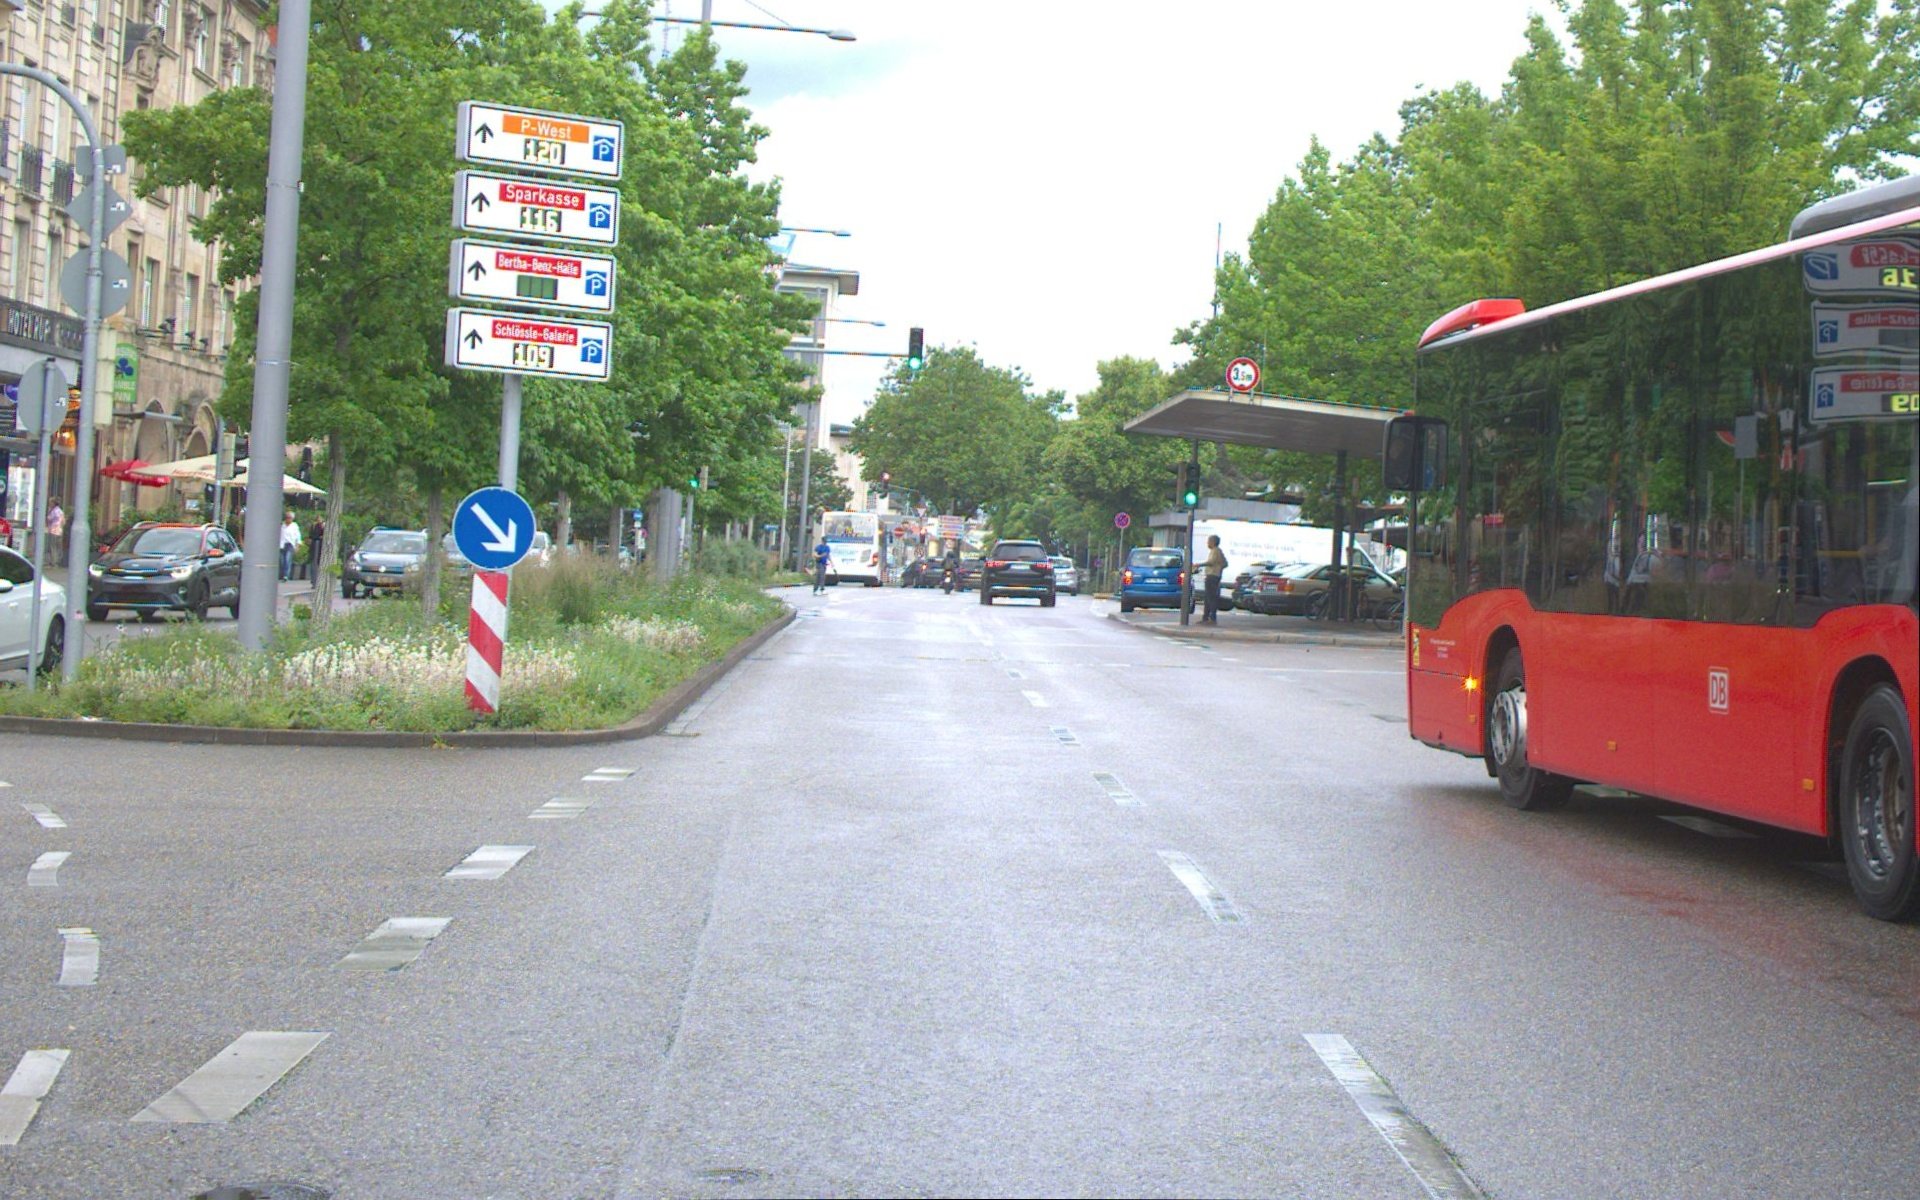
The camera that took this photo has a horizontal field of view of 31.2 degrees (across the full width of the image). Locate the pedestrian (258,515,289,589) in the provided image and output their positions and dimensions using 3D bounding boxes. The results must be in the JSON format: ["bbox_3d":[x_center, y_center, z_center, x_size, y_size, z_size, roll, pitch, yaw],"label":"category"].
[{"bbox_3d":[-16.092,-1.123,80.620,0.575,1.726,0.609,2,1,-1],"label":"pedestrian"}]

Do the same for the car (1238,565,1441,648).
[{"bbox_3d":[9.071,0.159,82.268,4.335,1.851,2.001,1,1,-20],"label":"car"}]

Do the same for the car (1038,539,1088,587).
[{"bbox_3d":[4.121,-1.500,137.824,1.788,1.853,4.000,1,1,-1],"label":"car"}]

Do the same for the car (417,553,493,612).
[{"bbox_3d":[-12.504,-0.452,85.280,1.754,1.364,4.061,1,1,-7],"label":"car"}]

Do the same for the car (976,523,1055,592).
[{"bbox_3d":[1.505,-1.190,94.880,1.993,1.800,4.690,1,1,-1],"label":"car"}]

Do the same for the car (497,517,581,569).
[{"bbox_3d":[-12.109,-1.657,99.087,1.755,1.364,4.060,1,2,2],"label":"car"}]

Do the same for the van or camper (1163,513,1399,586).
[{"bbox_3d":[9.612,-1.491,102.818,6.753,2.007,2.385,1,0,-26],"label":"van or camper"}]

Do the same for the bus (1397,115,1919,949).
[{"bbox_3d":[4.657,-0.315,17.297,2.742,3.163,10.197,1,1,-5],"label":"bus"}]

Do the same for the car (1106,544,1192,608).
[{"bbox_3d":[4.669,-0.618,85.388,1.816,1.525,4.000,1,1,-1],"label":"car"}]

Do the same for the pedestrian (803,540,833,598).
[{"bbox_3d":[-4.164,-0.907,101.049,0.758,1.695,0.559,2,1,6],"label":"pedestrian"}]

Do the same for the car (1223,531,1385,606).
[{"bbox_3d":[9.664,-0.883,96.637,3.986,2.007,2.001,1,1,-20],"label":"car"}]

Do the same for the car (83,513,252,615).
[{"bbox_3d":[-12.201,-0.570,53.114,1.630,1.471,4.026,1,1,0],"label":"car"}]

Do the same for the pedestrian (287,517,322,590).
[{"bbox_3d":[-15.380,-1.089,80.664,0.674,1.696,0.634,2,1,-1],"label":"pedestrian"}]

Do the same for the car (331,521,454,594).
[{"bbox_3d":[-11.886,-0.894,72.209,1.755,1.436,4.060,2,1,2],"label":"car"}]

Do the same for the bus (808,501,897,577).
[{"bbox_3d":[-4.784,-2.738,155.412,3.760,3.198,15.527,1,1,-1],"label":"bus"}]

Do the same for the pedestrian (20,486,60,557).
[{"bbox_3d":[-19.866,-1.694,74.216,0.661,1.505,0.519,1,1,-38],"label":"pedestrian"}]

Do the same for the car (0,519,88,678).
[{"bbox_3d":[-9.735,0.006,32.330,1.724,1.376,4.860,0,3,1],"label":"car"}]

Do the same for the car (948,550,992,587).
[{"bbox_3d":[0.403,-1.284,140.632,1.708,1.443,4.000,1,1,-1],"label":"car"}]

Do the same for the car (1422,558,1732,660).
[{"bbox_3d":[9.111,0.114,51.055,1.774,1.380,4.366,0,1,-41],"label":"car"}]

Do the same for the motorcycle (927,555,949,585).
[{"bbox_3d":[-0.804,-1.085,124.105,0.766,1.073,2.175,2,1,0],"label":"motorcycle"}]

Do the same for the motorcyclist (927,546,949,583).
[{"bbox_3d":[-0.803,-1.289,124.103,0.764,1.327,0.866,2,1,0],"label":"motorcyclist"}]

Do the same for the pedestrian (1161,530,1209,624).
[{"bbox_3d":[4.355,-0.452,66.601,0.717,1.785,0.666,1,1,-12],"label":"pedestrian"}]
